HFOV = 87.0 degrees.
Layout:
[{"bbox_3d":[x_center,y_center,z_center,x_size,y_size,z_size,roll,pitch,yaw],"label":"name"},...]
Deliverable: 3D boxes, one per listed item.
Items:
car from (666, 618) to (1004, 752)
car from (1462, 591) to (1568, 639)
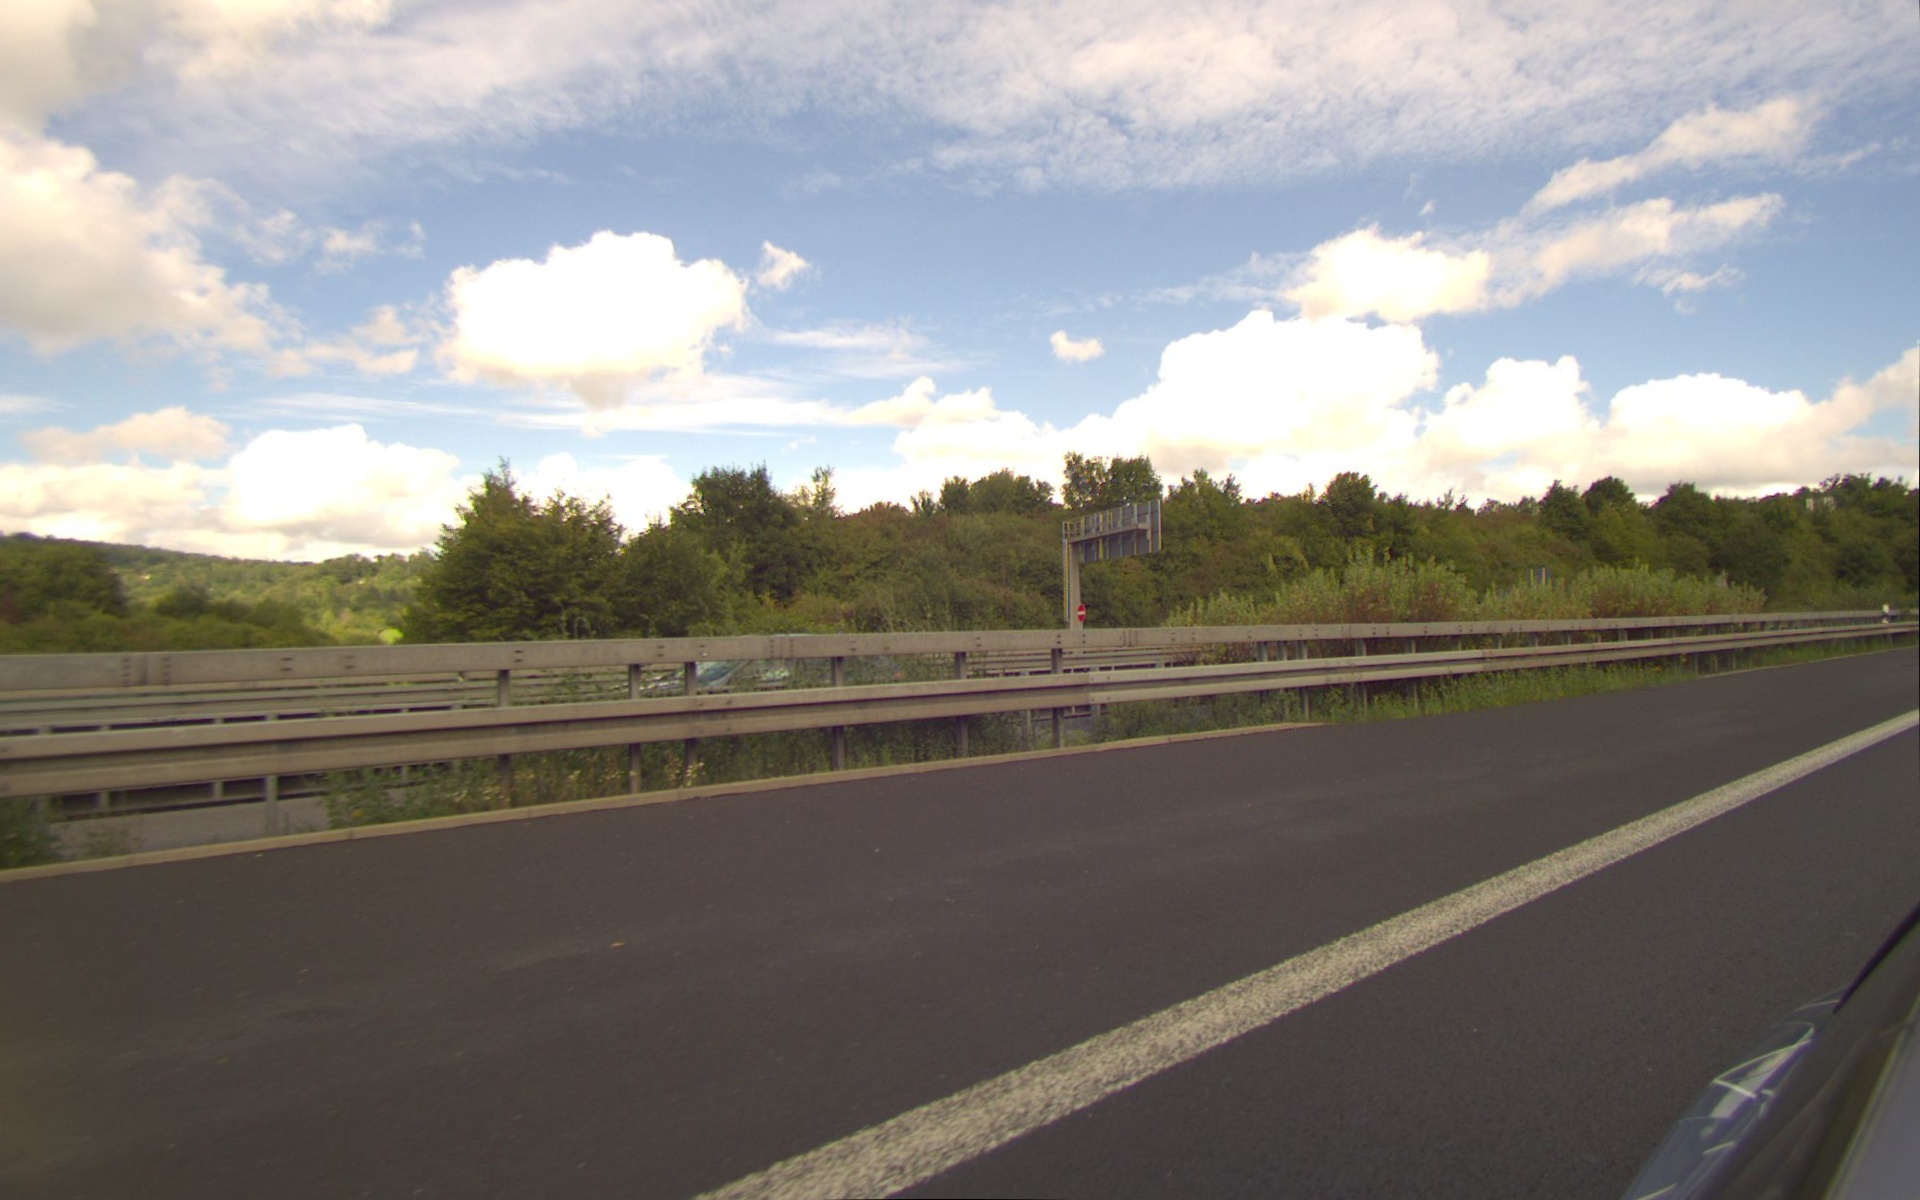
[{"bbox_3d":[-1.677,1.081,14.569,4.592,1.538,1.788,-1,0,-39],"label":"car"},{"bbox_3d":[19.826,0.495,36.087,4.264,1.591,1.788,0,0,-38],"label":"car"}]
